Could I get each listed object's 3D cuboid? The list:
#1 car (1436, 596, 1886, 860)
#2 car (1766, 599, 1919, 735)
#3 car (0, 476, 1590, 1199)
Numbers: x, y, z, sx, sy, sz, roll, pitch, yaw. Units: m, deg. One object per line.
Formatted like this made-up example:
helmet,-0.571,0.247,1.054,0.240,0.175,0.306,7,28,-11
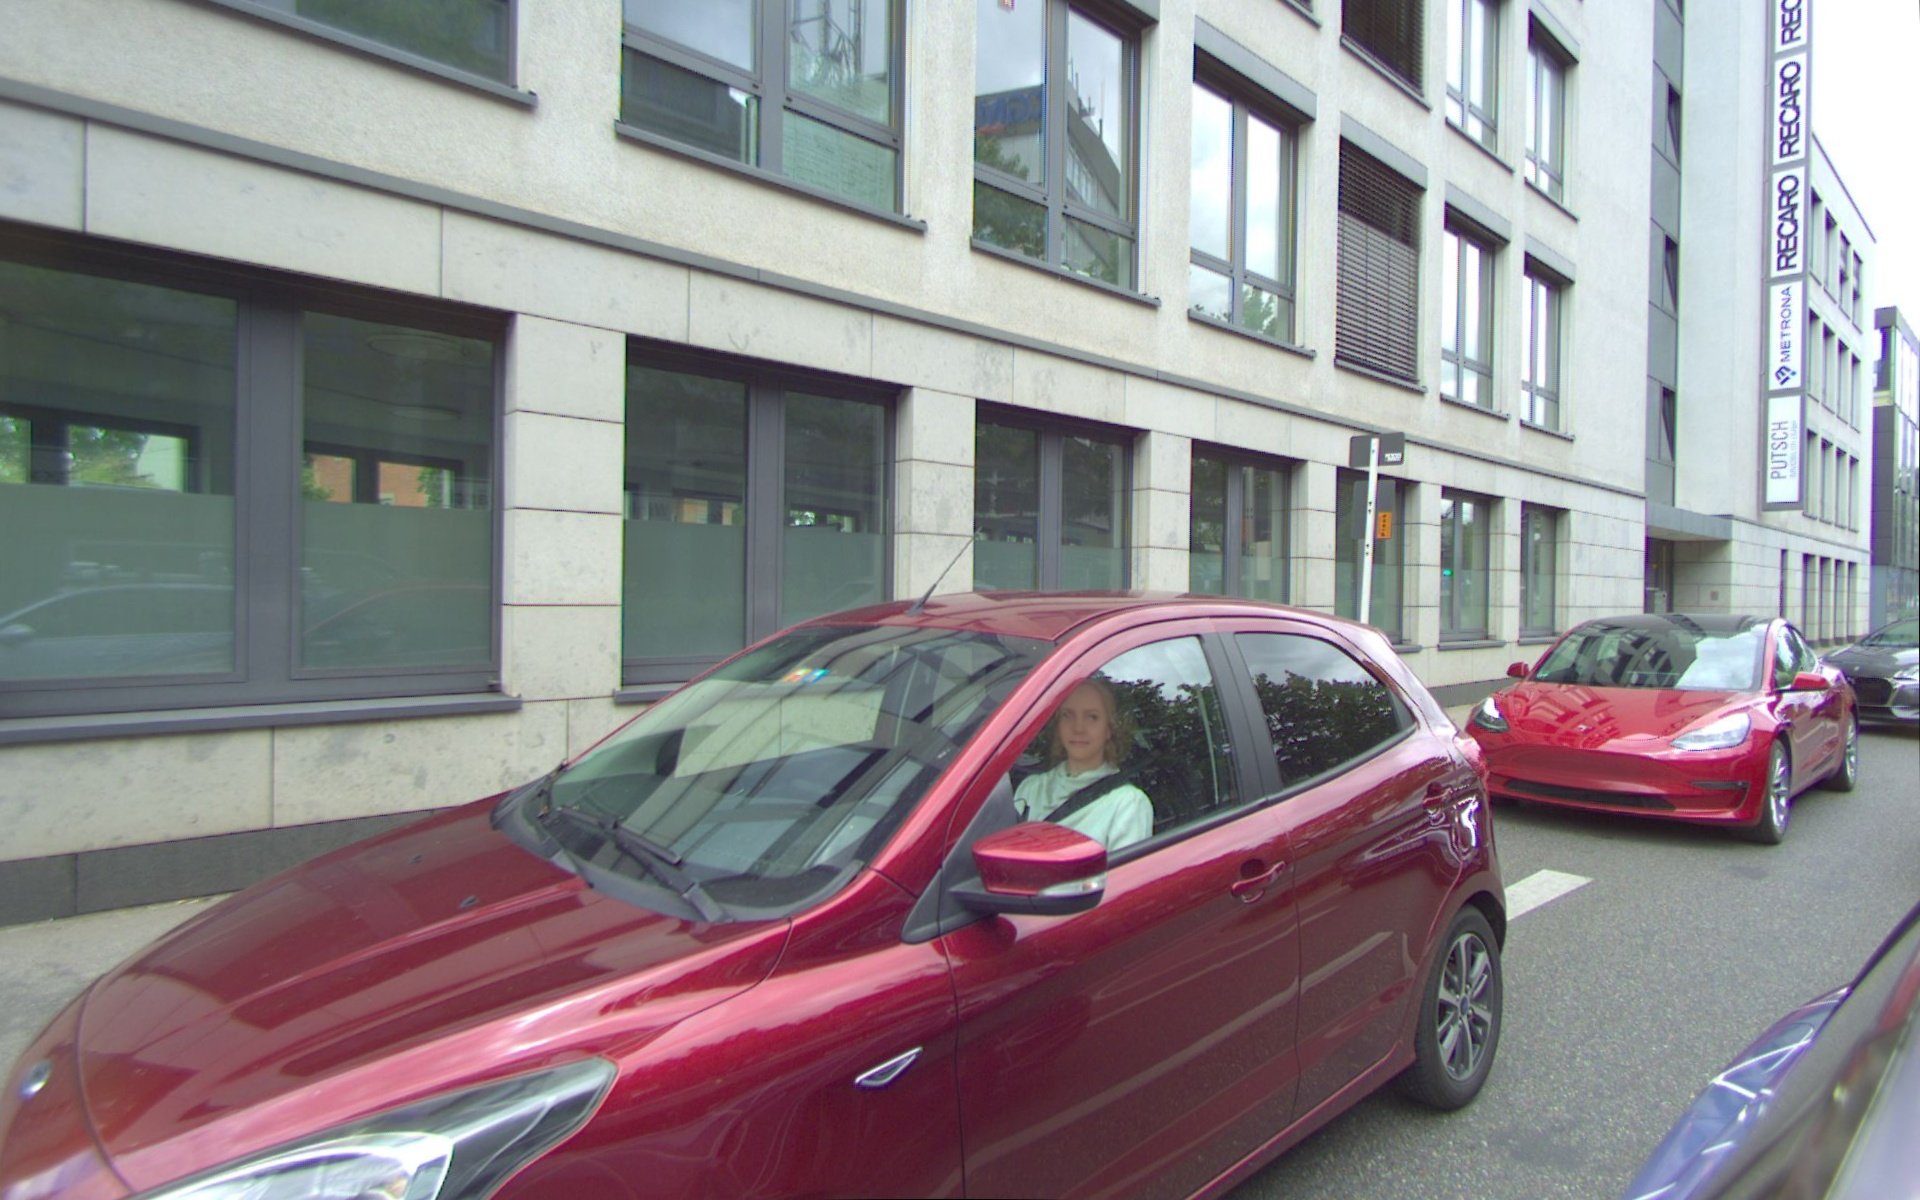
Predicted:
car,5.545,0.728,7.779,4.331,1.476,1.823,0,-1,-41
car,12.041,0.727,11.948,3.660,1.476,1.747,0,-1,-3
car,0.017,0.674,2.842,3.930,1.511,1.888,0,-2,-41
